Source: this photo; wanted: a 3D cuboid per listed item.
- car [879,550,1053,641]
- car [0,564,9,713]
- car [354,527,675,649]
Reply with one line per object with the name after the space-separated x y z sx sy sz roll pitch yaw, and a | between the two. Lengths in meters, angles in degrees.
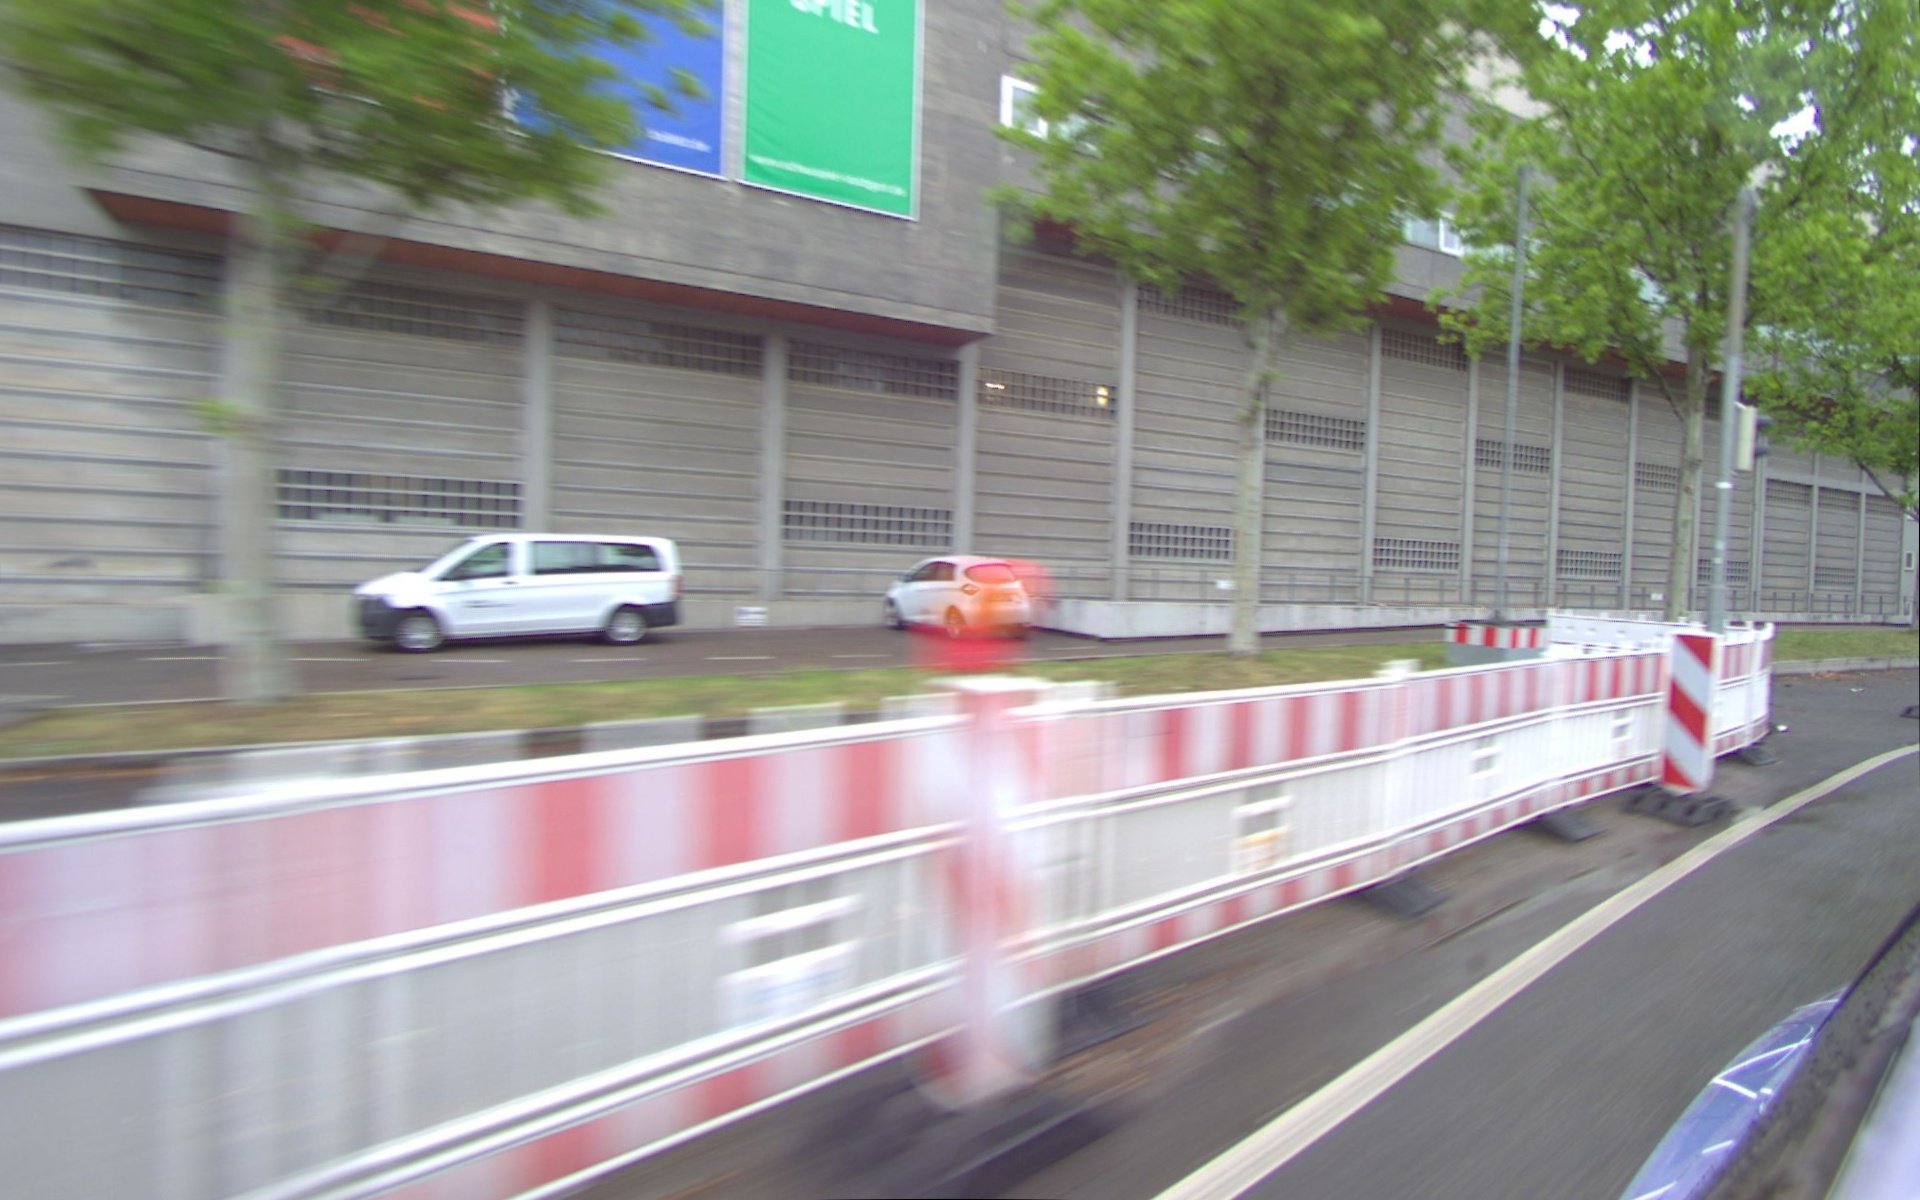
0.012 -0.168 20.114 1.743 1.598 3.856 0 3 -30 | car
-9.395 0.186 6.431 4.399 1.704 1.965 -3 2 -22 | car
-7.469 -0.243 17.150 4.788 1.809 1.781 -1 3 -32 | car
